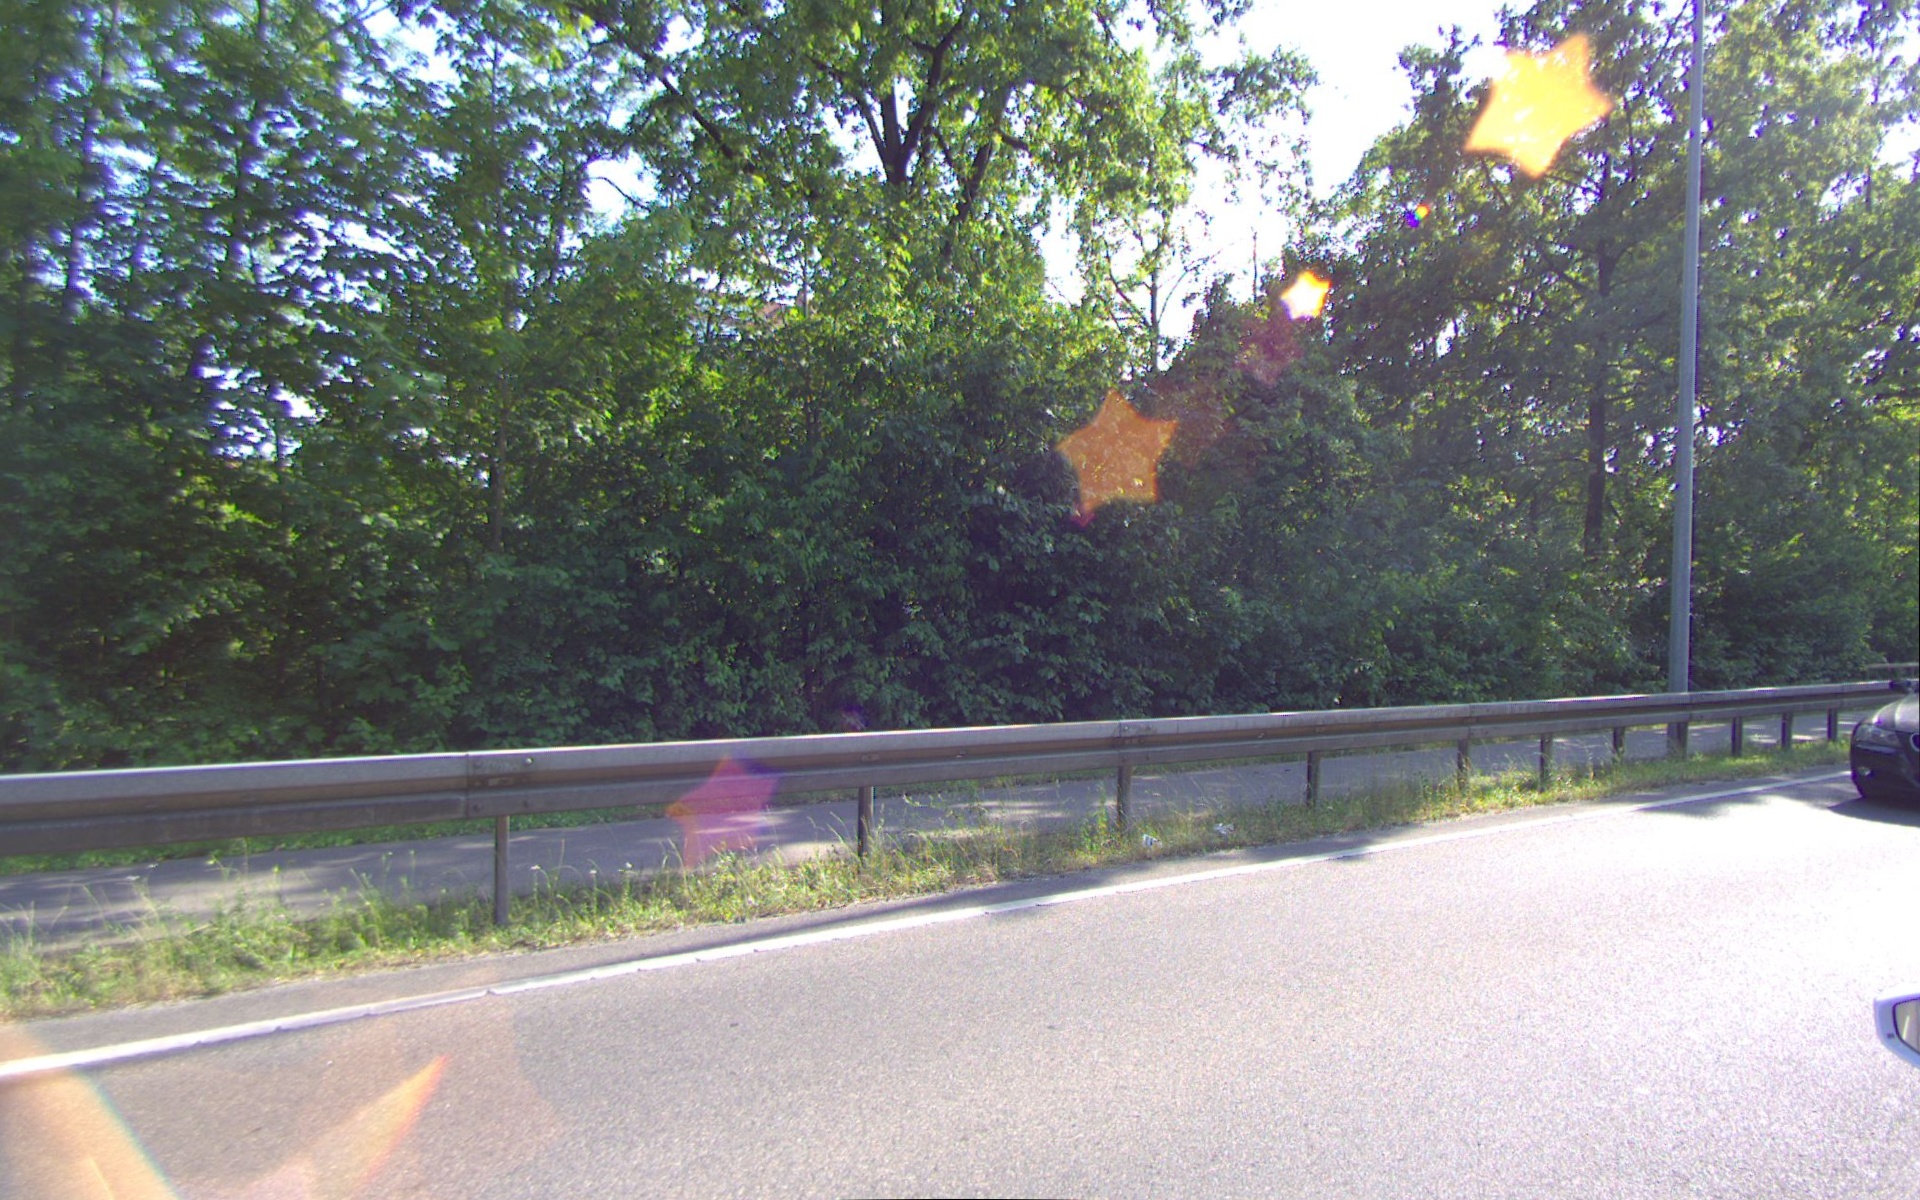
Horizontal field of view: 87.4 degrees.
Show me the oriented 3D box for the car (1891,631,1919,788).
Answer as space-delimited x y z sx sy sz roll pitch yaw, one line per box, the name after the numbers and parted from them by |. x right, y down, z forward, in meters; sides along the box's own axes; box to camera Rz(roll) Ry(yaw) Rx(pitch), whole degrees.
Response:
10.926 1.049 9.743 4.093 1.439 1.683 1 -1 -30 | car
